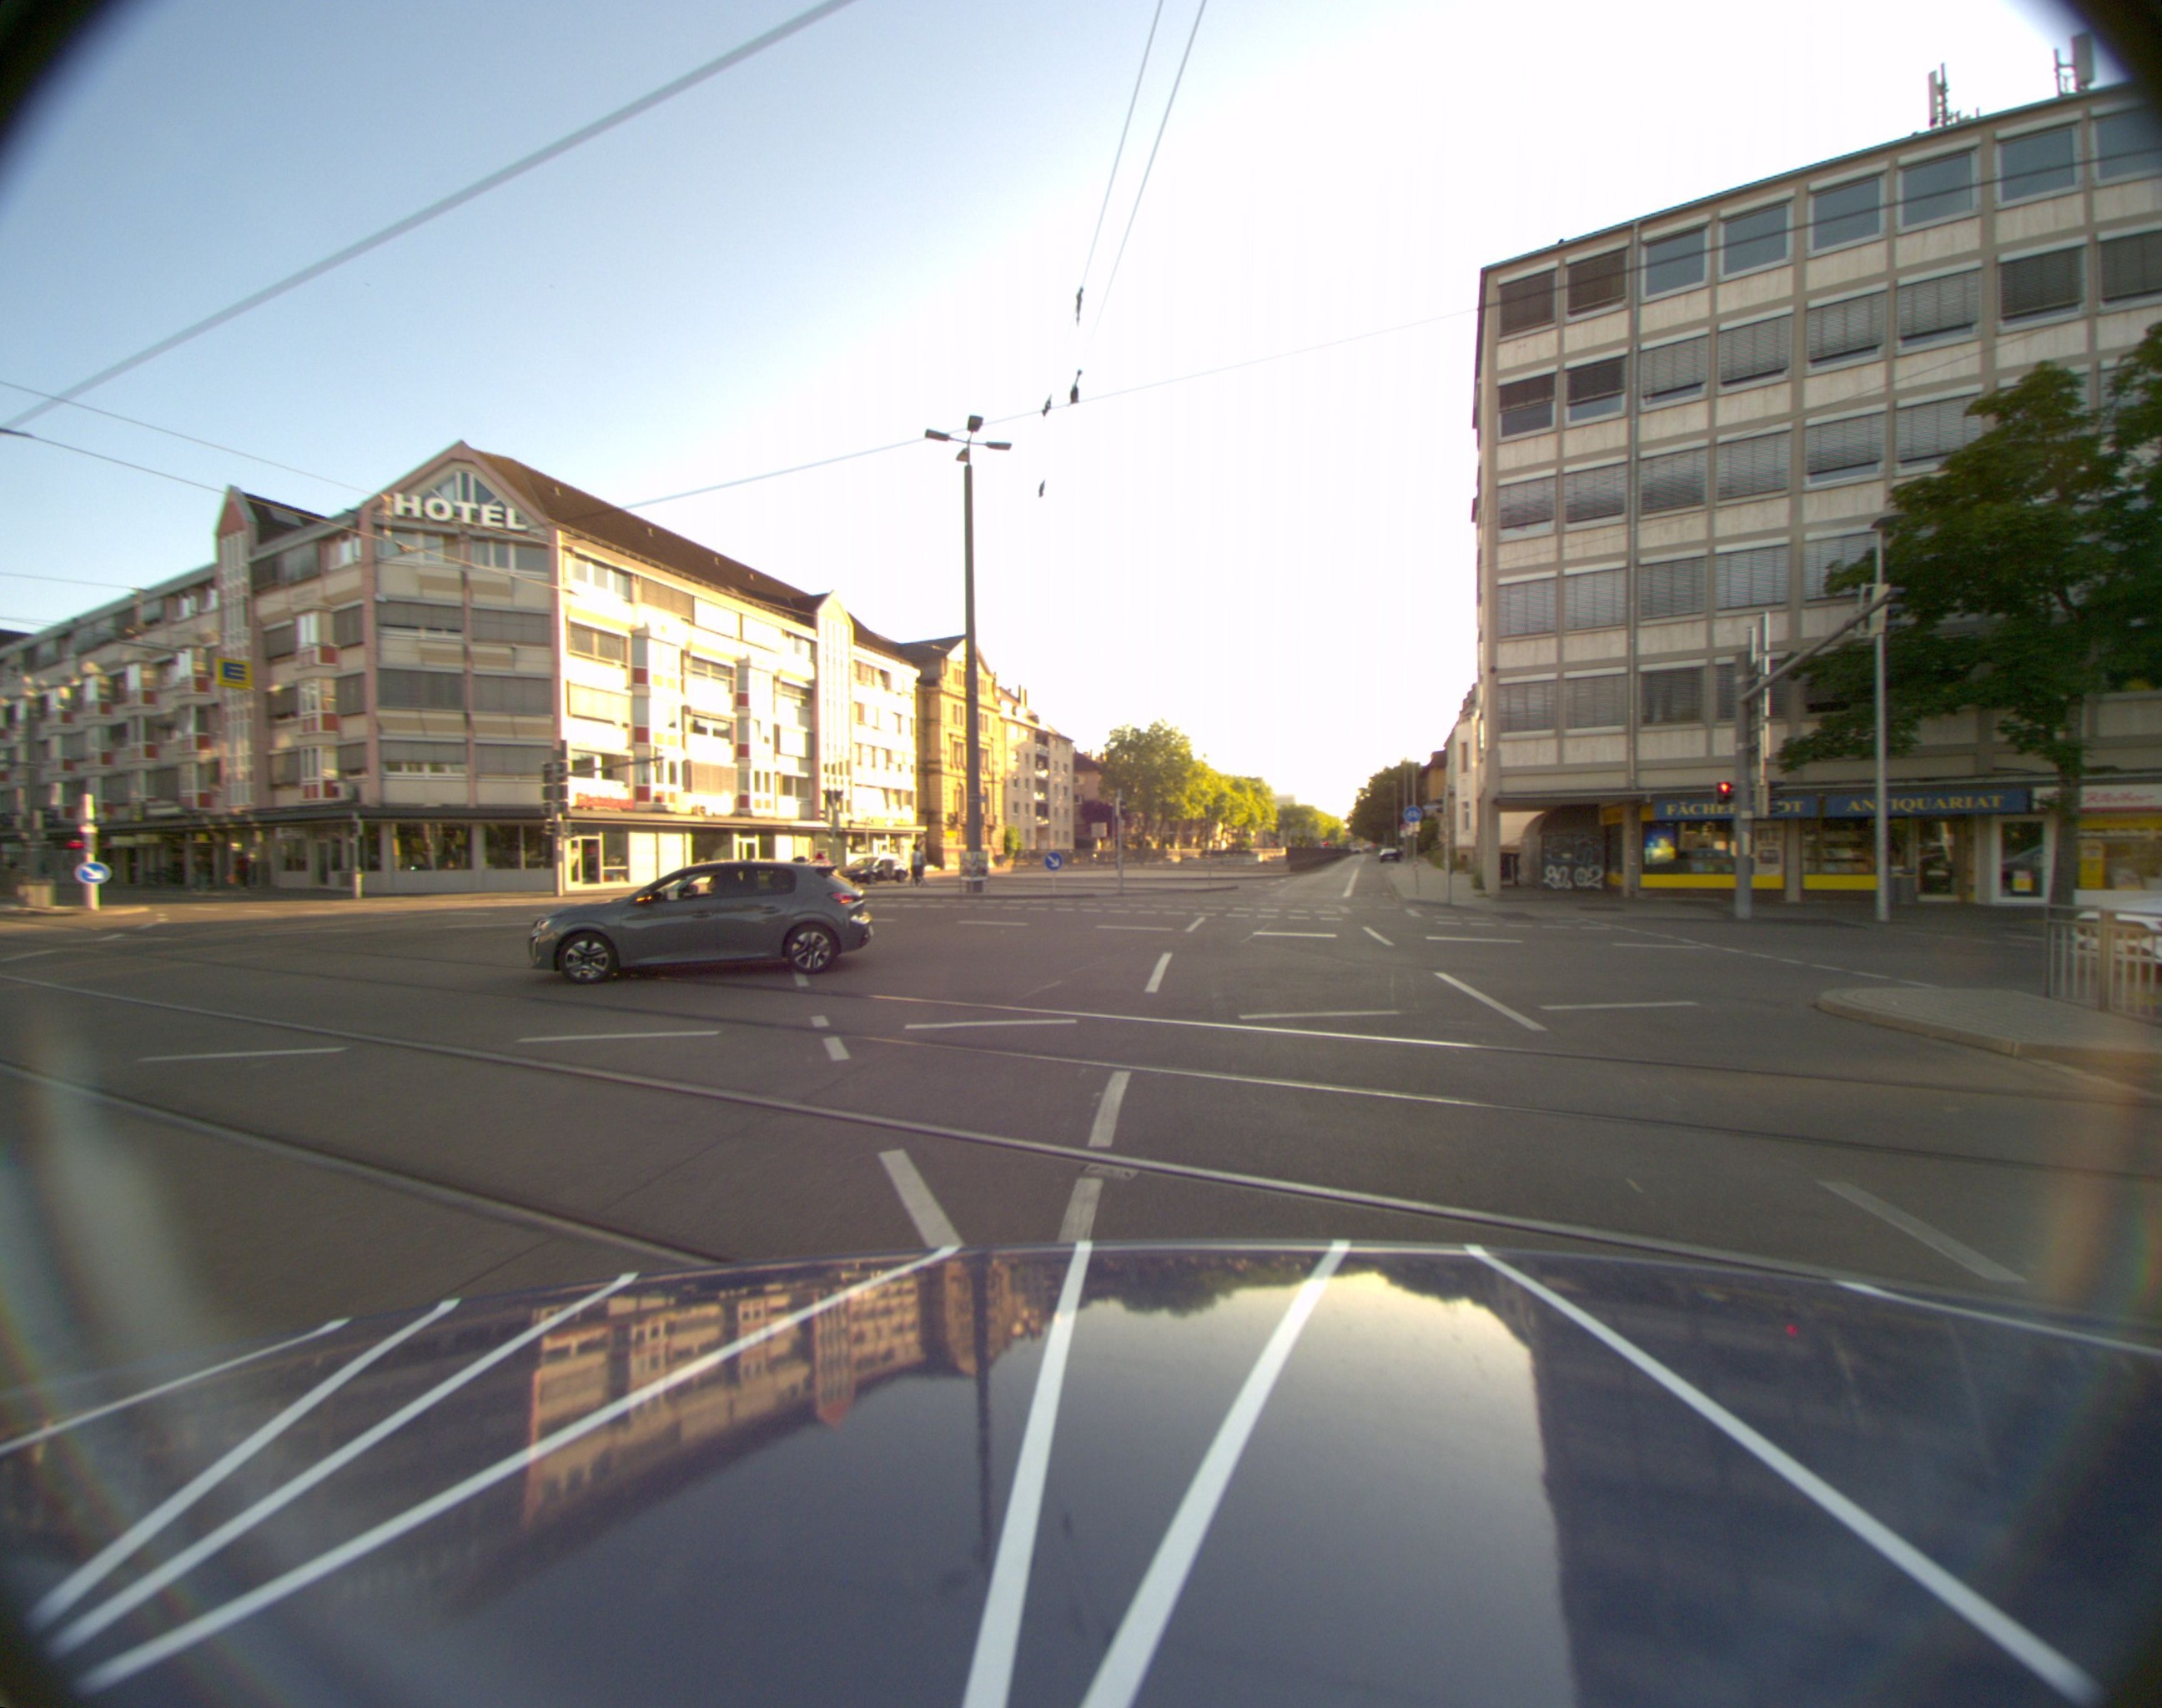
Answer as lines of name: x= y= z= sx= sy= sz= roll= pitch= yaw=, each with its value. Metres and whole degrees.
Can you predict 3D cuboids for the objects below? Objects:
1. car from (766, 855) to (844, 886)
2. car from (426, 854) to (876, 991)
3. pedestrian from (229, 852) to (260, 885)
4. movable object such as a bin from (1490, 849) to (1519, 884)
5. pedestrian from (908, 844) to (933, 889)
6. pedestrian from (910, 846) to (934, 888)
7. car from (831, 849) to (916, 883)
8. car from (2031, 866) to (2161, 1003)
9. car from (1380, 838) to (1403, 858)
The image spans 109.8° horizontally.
car: x=-14.030 y=0.812 z=38.832 sx=1.645 sy=1.414 sz=3.902 roll=0 pitch=1 yaw=19
car: x=-5.191 y=0.771 z=9.898 sx=4.703 sy=1.495 sz=1.915 roll=0 pitch=1 yaw=-11
pedestrian: x=-40.393 y=0.685 z=36.678 sx=0.904 sy=1.540 sz=0.709 roll=4 pitch=1 yaw=22
movable object such as a bin: x=16.983 y=0.482 z=30.488 sx=0.957 sy=1.319 sz=1.417 roll=1 pitch=2 yaw=29
pedestrian: x=-5.990 y=0.444 z=28.383 sx=0.728 sy=1.640 sz=0.770 roll=-1 pitch=2 yaw=-28
pedestrian: x=-6.128 y=0.498 z=29.251 sx=0.706 sy=1.573 sz=0.824 roll=-1 pitch=2 yaw=-26
car: x=-10.337 y=0.545 z=38.302 sx=2.219 sy=1.547 sz=4.615 roll=0 pitch=1 yaw=12
car: x=13.824 y=0.902 z=7.942 sx=4.552 sy=1.440 sz=1.820 roll=1 pitch=-1 yaw=21
car: x=31.145 y=-0.604 z=76.146 sx=1.995 sy=2.002 sz=4.269 roll=0 pitch=1 yaw=25
